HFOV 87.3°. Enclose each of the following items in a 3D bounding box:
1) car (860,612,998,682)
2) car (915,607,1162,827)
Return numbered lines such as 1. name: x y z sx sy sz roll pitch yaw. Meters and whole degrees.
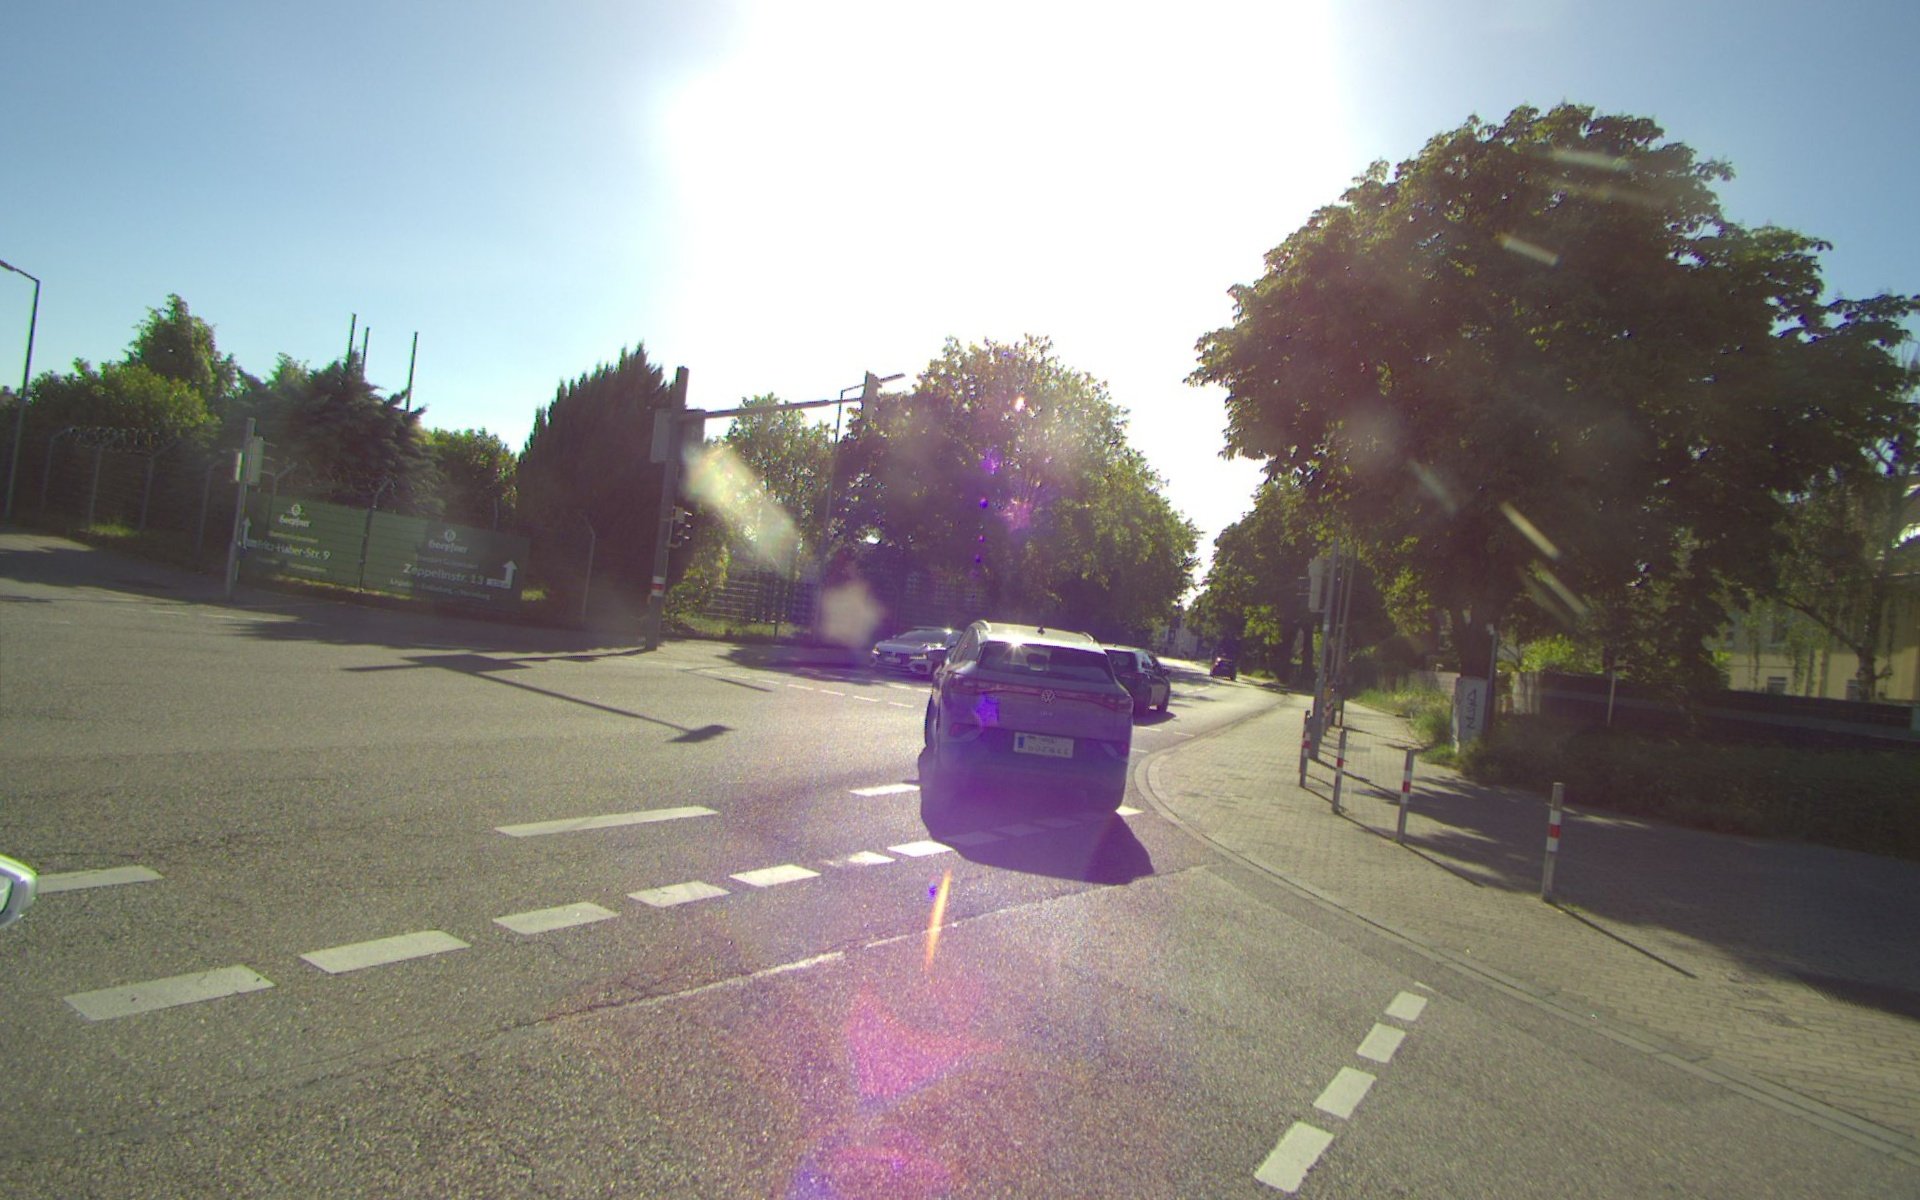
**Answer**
1. car: -0.733 1.352 27.752 1.778 1.550 4.513 7 -1 26
2. car: 0.583 1.046 10.728 1.829 1.654 4.255 8 -1 -4
